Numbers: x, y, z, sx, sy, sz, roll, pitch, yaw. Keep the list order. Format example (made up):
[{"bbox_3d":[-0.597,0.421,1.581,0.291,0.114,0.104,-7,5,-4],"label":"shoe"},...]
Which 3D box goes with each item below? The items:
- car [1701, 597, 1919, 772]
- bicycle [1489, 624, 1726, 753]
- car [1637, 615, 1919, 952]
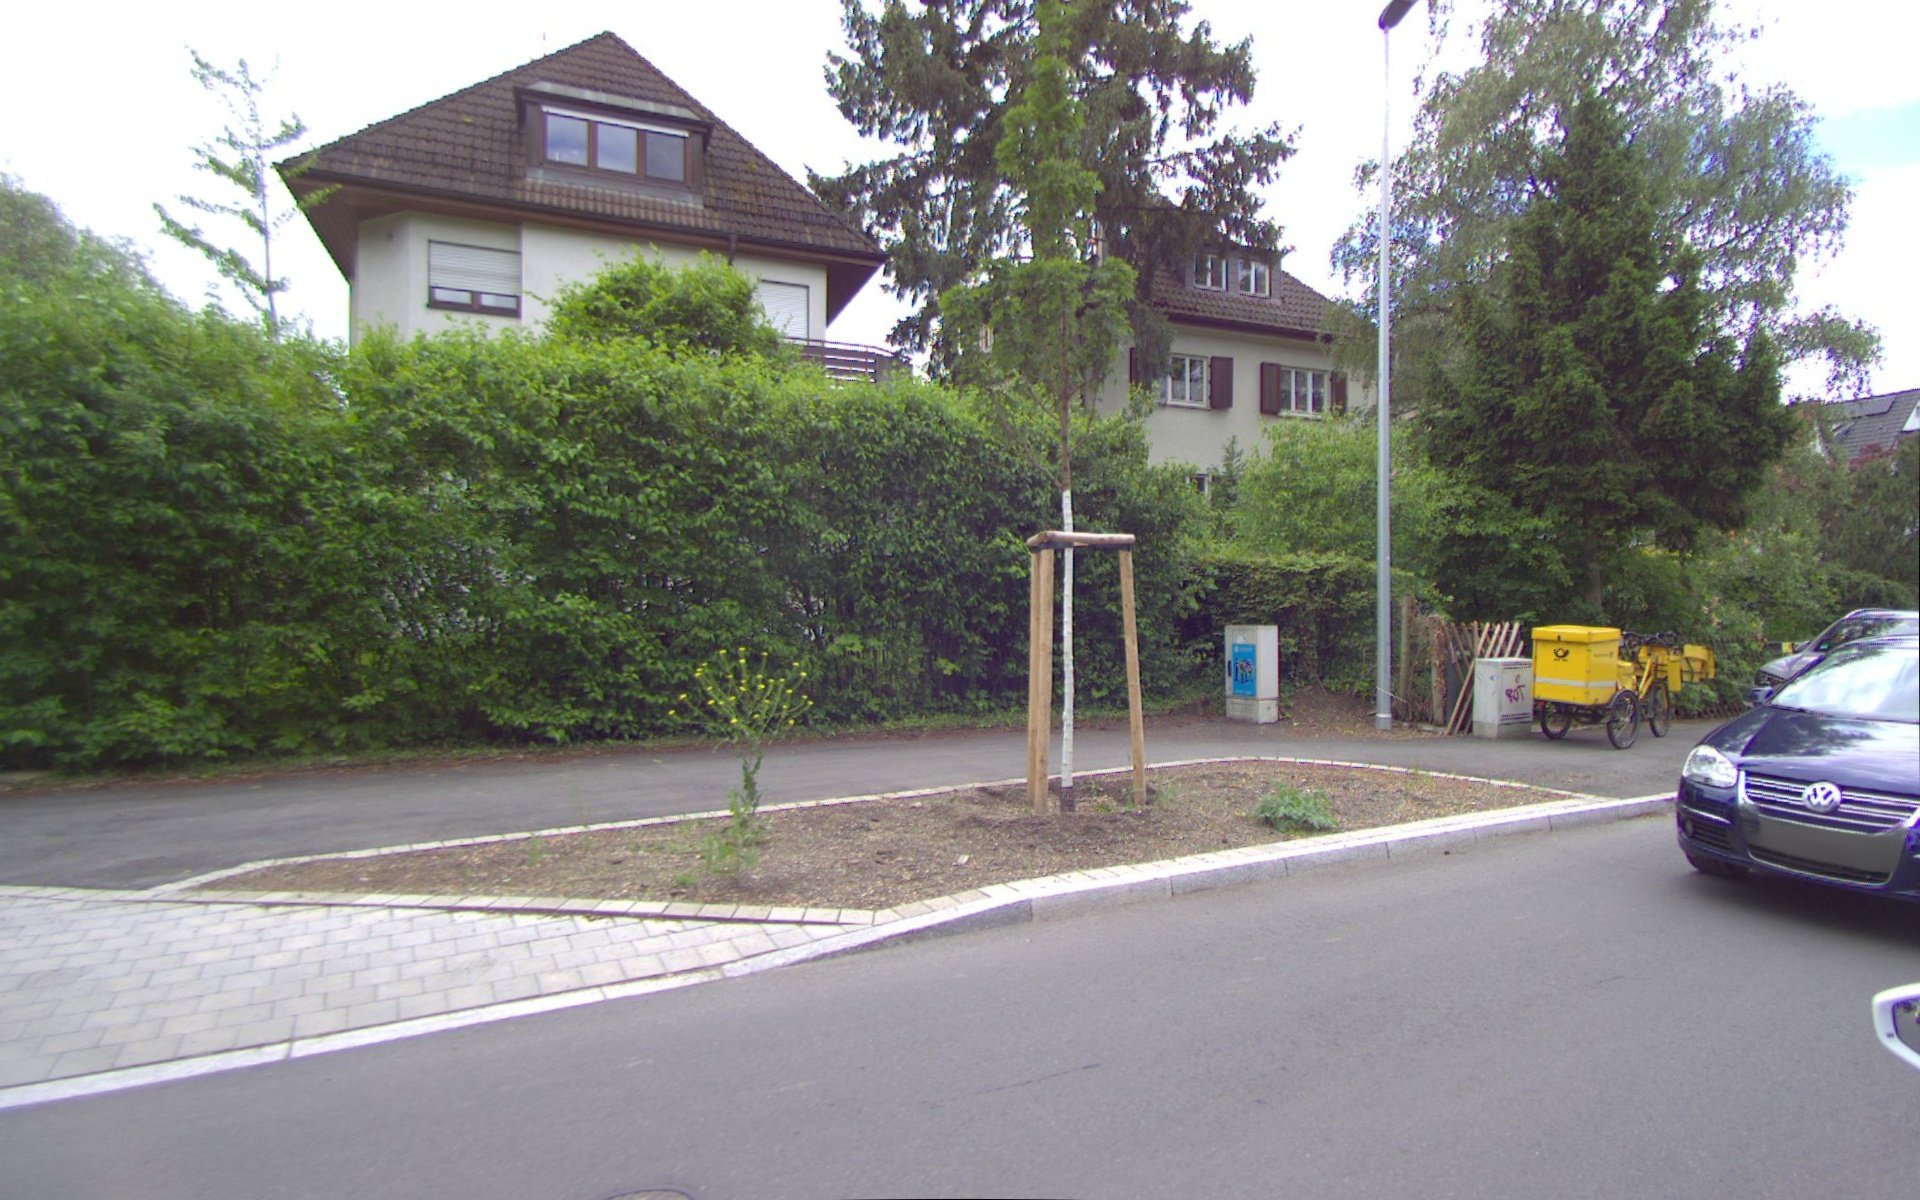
[{"bbox_3d":[10.633,0.848,11.421,4.674,1.628,1.787,1,0,-30],"label":"car"},{"bbox_3d":[7.247,0.921,11.202,2.688,1.246,1.146,1,0,-31],"label":"bicycle"},{"bbox_3d":[6.004,0.891,5.891,4.145,1.494,1.699,1,0,-30],"label":"car"}]
